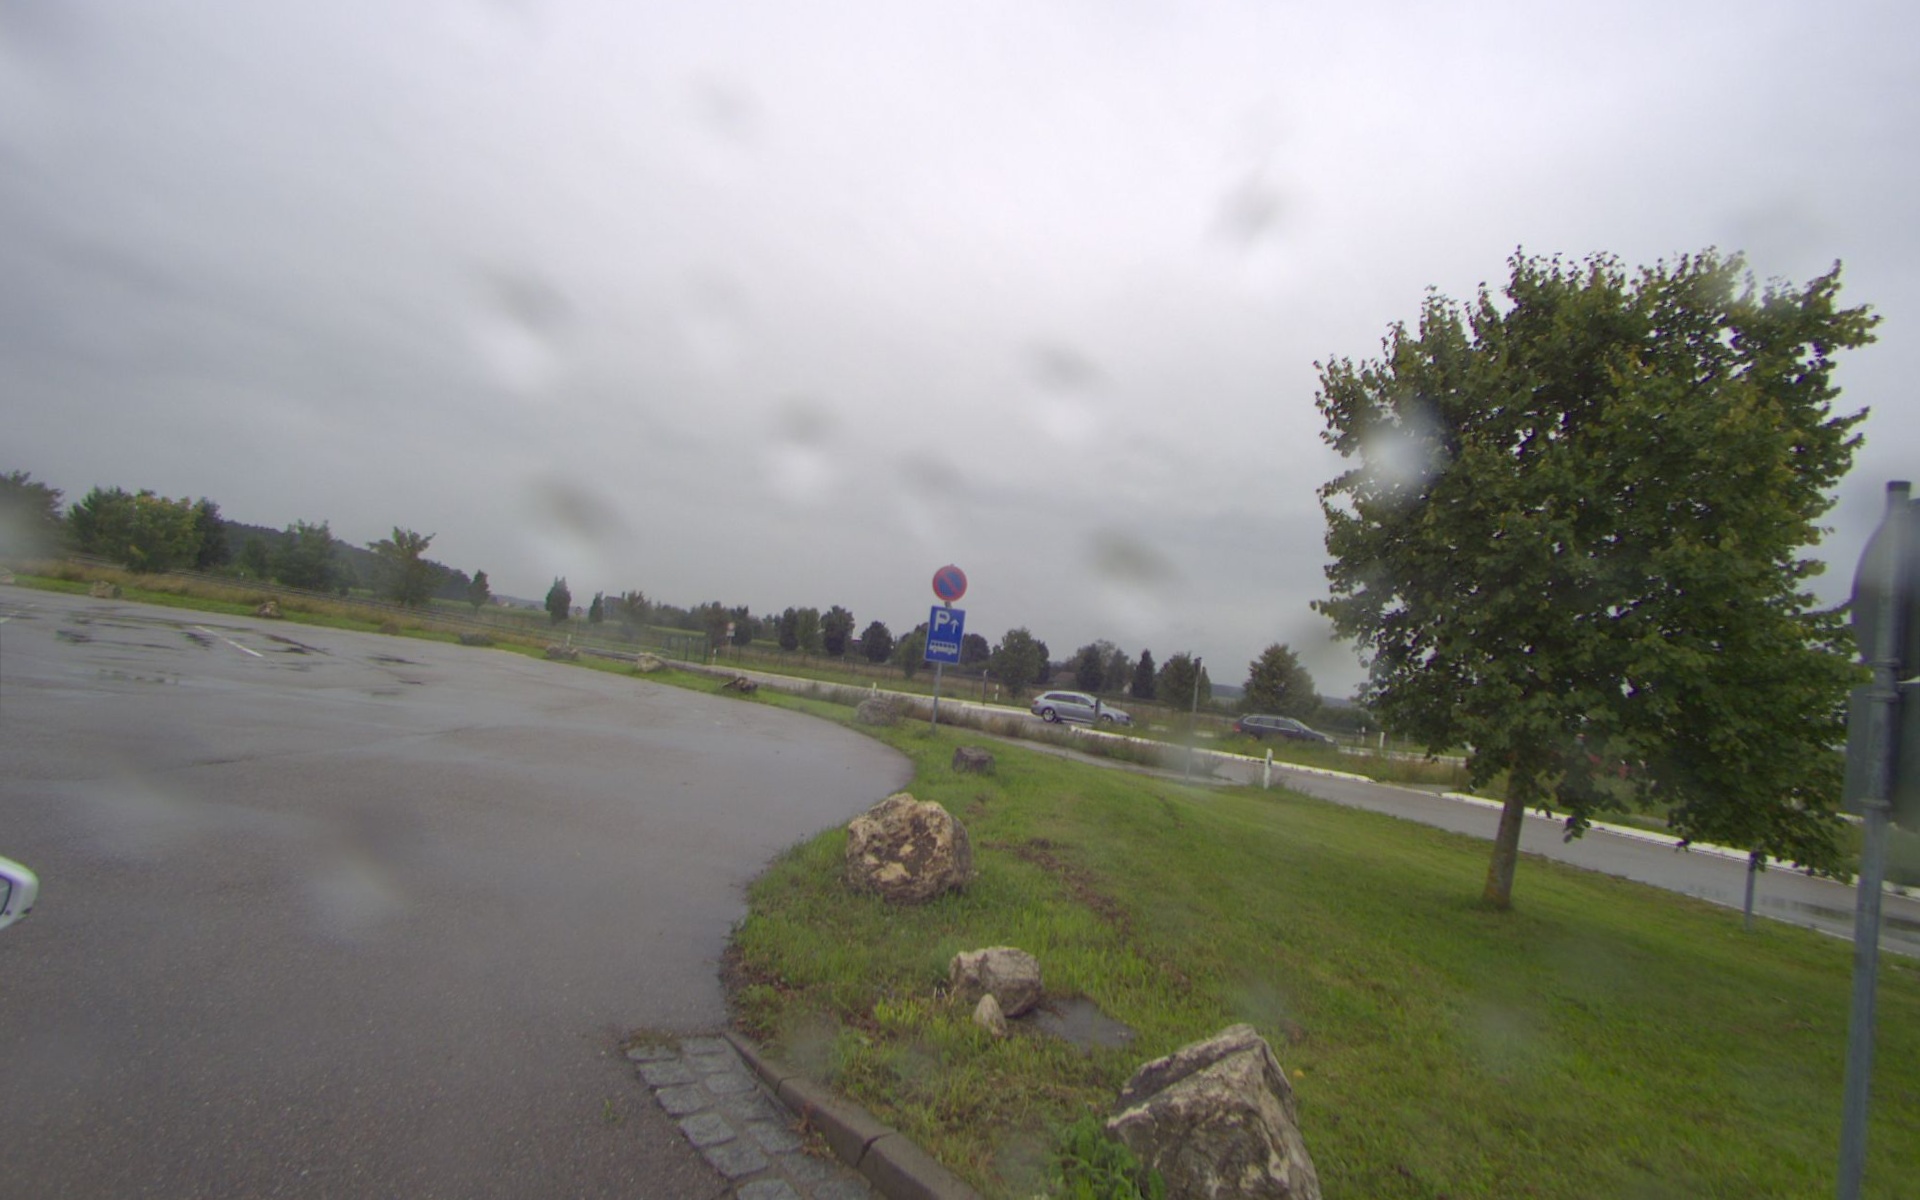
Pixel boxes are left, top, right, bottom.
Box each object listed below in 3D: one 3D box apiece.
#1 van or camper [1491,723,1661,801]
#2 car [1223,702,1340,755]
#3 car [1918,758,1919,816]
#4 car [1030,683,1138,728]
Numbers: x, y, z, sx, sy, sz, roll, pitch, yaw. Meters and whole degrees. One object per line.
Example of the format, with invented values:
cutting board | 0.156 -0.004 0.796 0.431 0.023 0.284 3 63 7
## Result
van or camper | 22.205 5.777 36.410 1.988 2.037 4.789 7 -2 -44
car | 13.918 5.551 43.526 4.446 1.620 2.001 5 -5 28
car | 27.098 4.949 25.279 1.801 1.609 3.983 4 -3 -23
car | 5.844 4.945 47.362 4.578 1.499 2.000 6 -2 24
